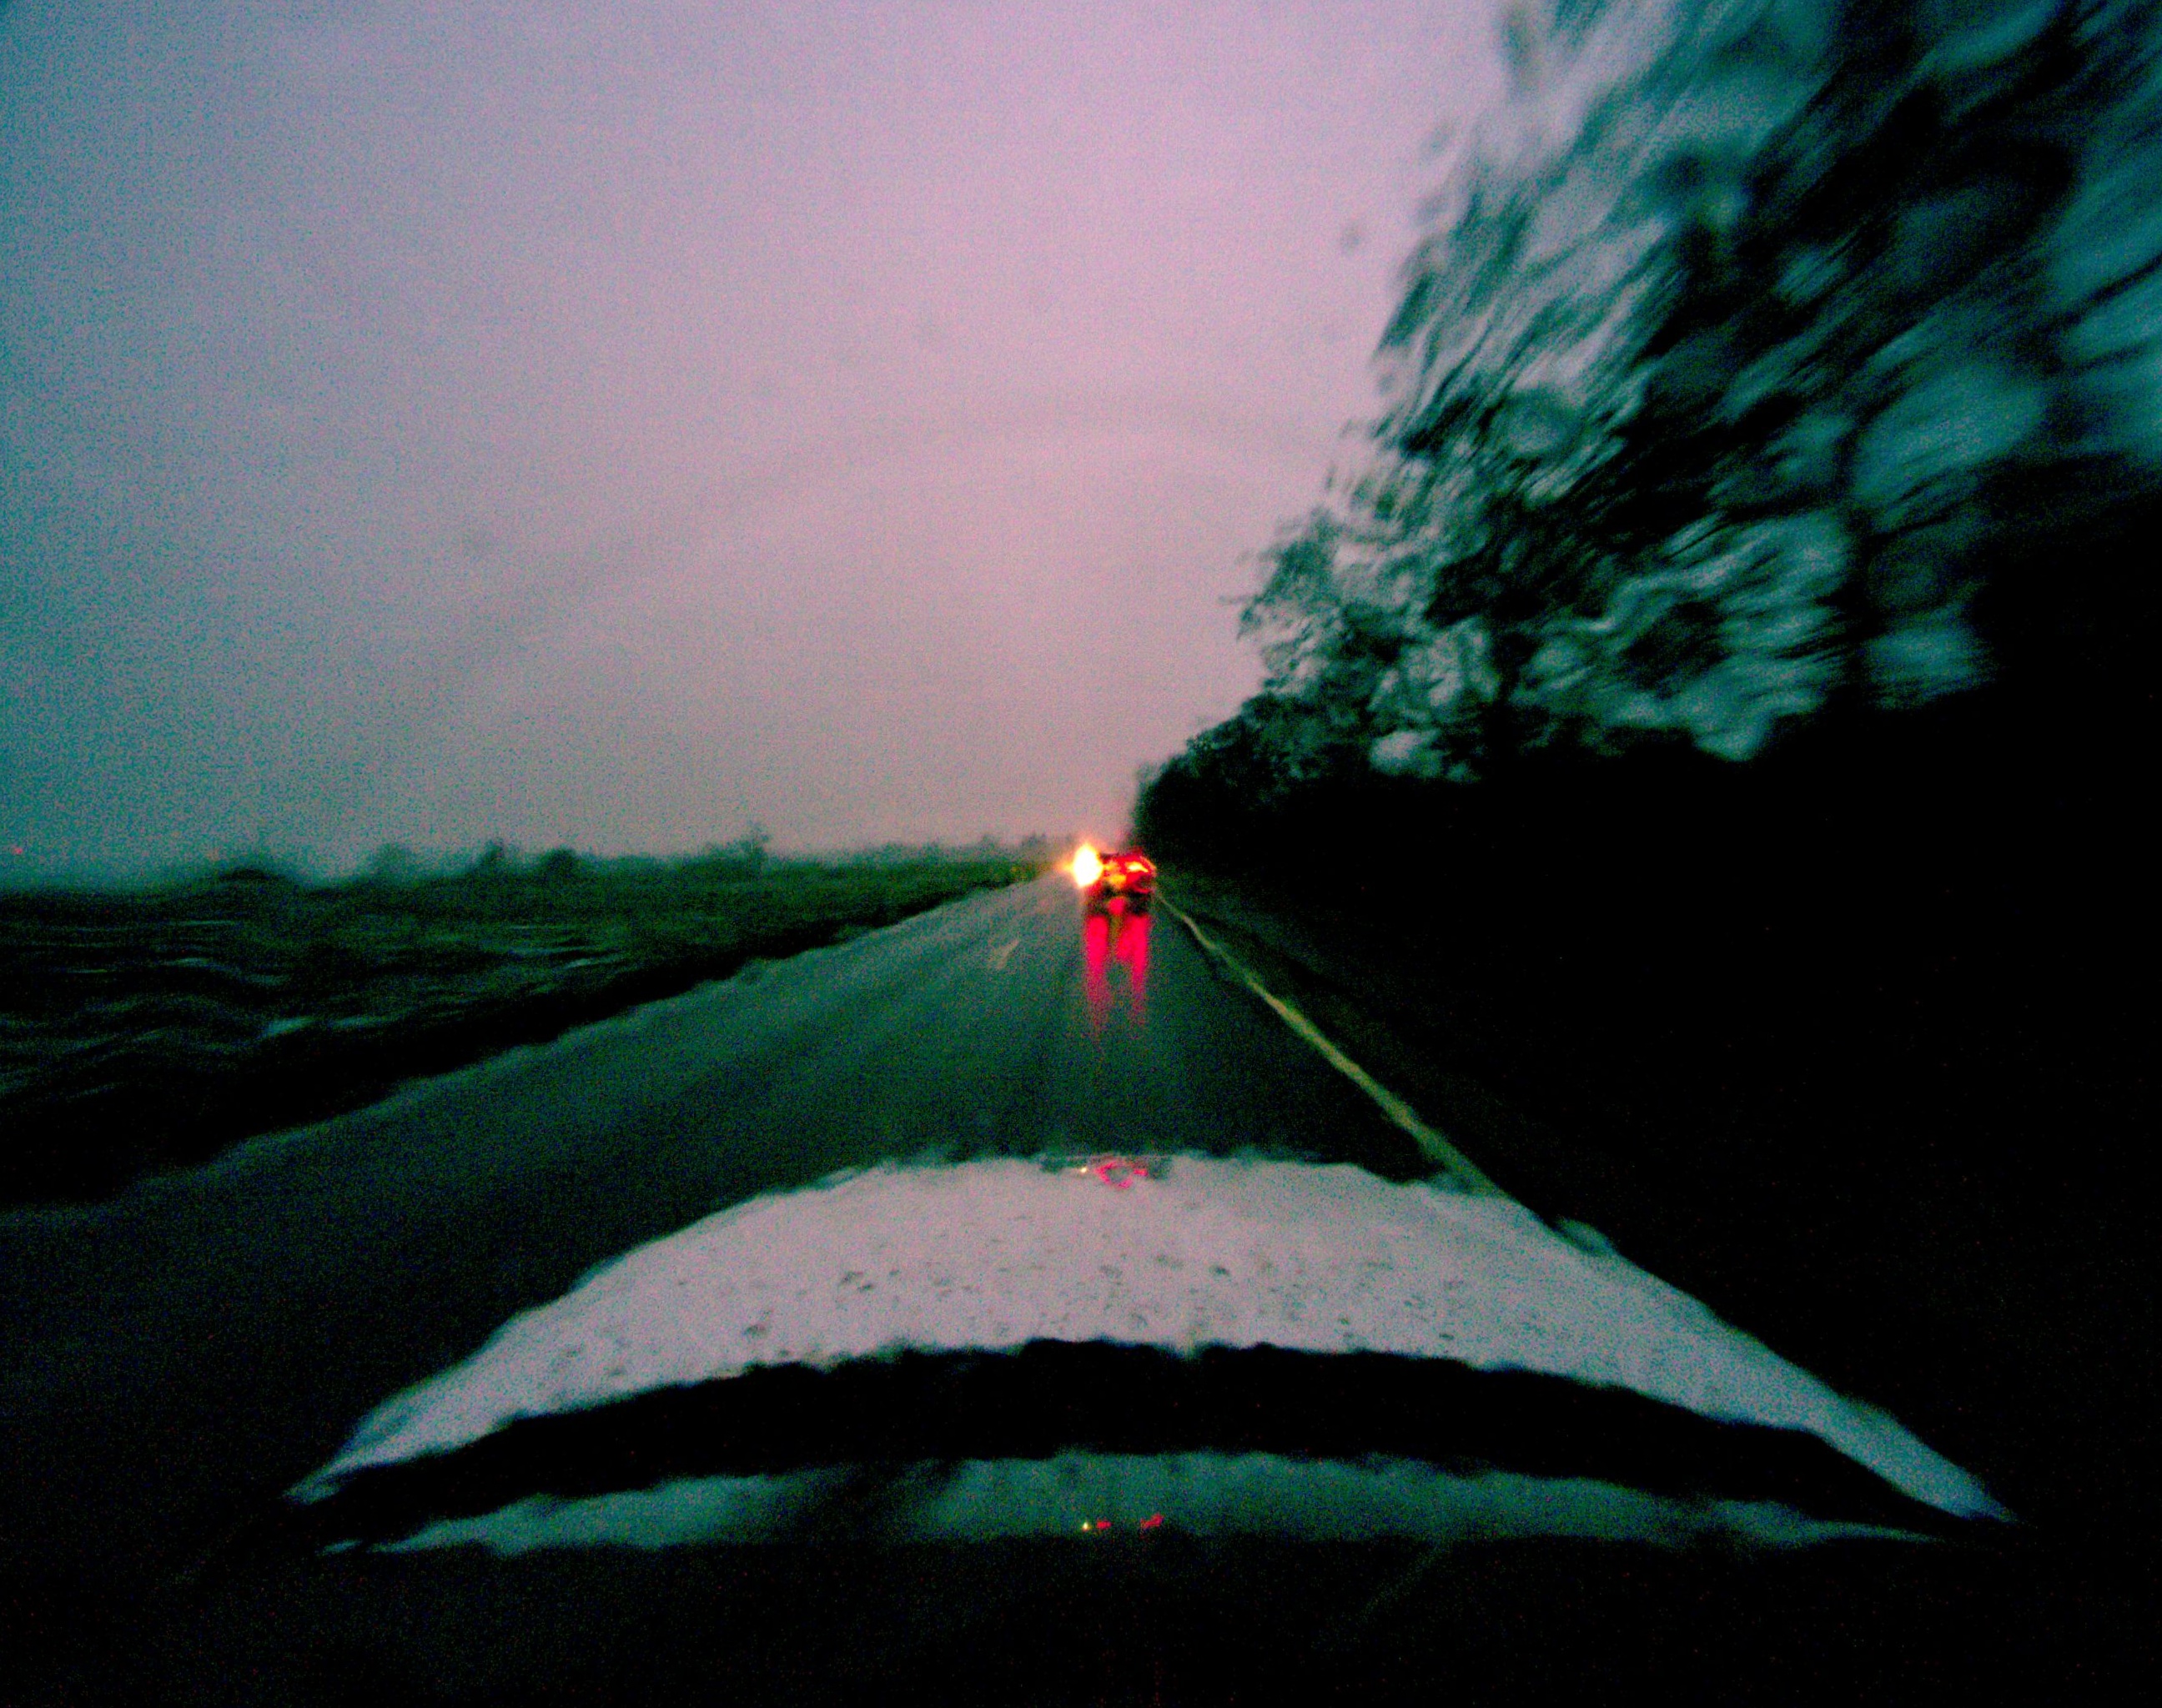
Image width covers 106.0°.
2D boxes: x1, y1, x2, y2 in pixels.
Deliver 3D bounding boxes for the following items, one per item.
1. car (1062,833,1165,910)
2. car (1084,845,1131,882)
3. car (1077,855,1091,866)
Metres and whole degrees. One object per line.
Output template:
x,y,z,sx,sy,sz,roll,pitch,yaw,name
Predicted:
1.021,0.487,25.042,2.809,2.077,5.808,0,0,3,car
1.606,0.534,47.637,2.581,2.014,5.808,0,0,3,car
0.481,0.843,109.639,1.722,1.413,4.024,-4,0,1,car
